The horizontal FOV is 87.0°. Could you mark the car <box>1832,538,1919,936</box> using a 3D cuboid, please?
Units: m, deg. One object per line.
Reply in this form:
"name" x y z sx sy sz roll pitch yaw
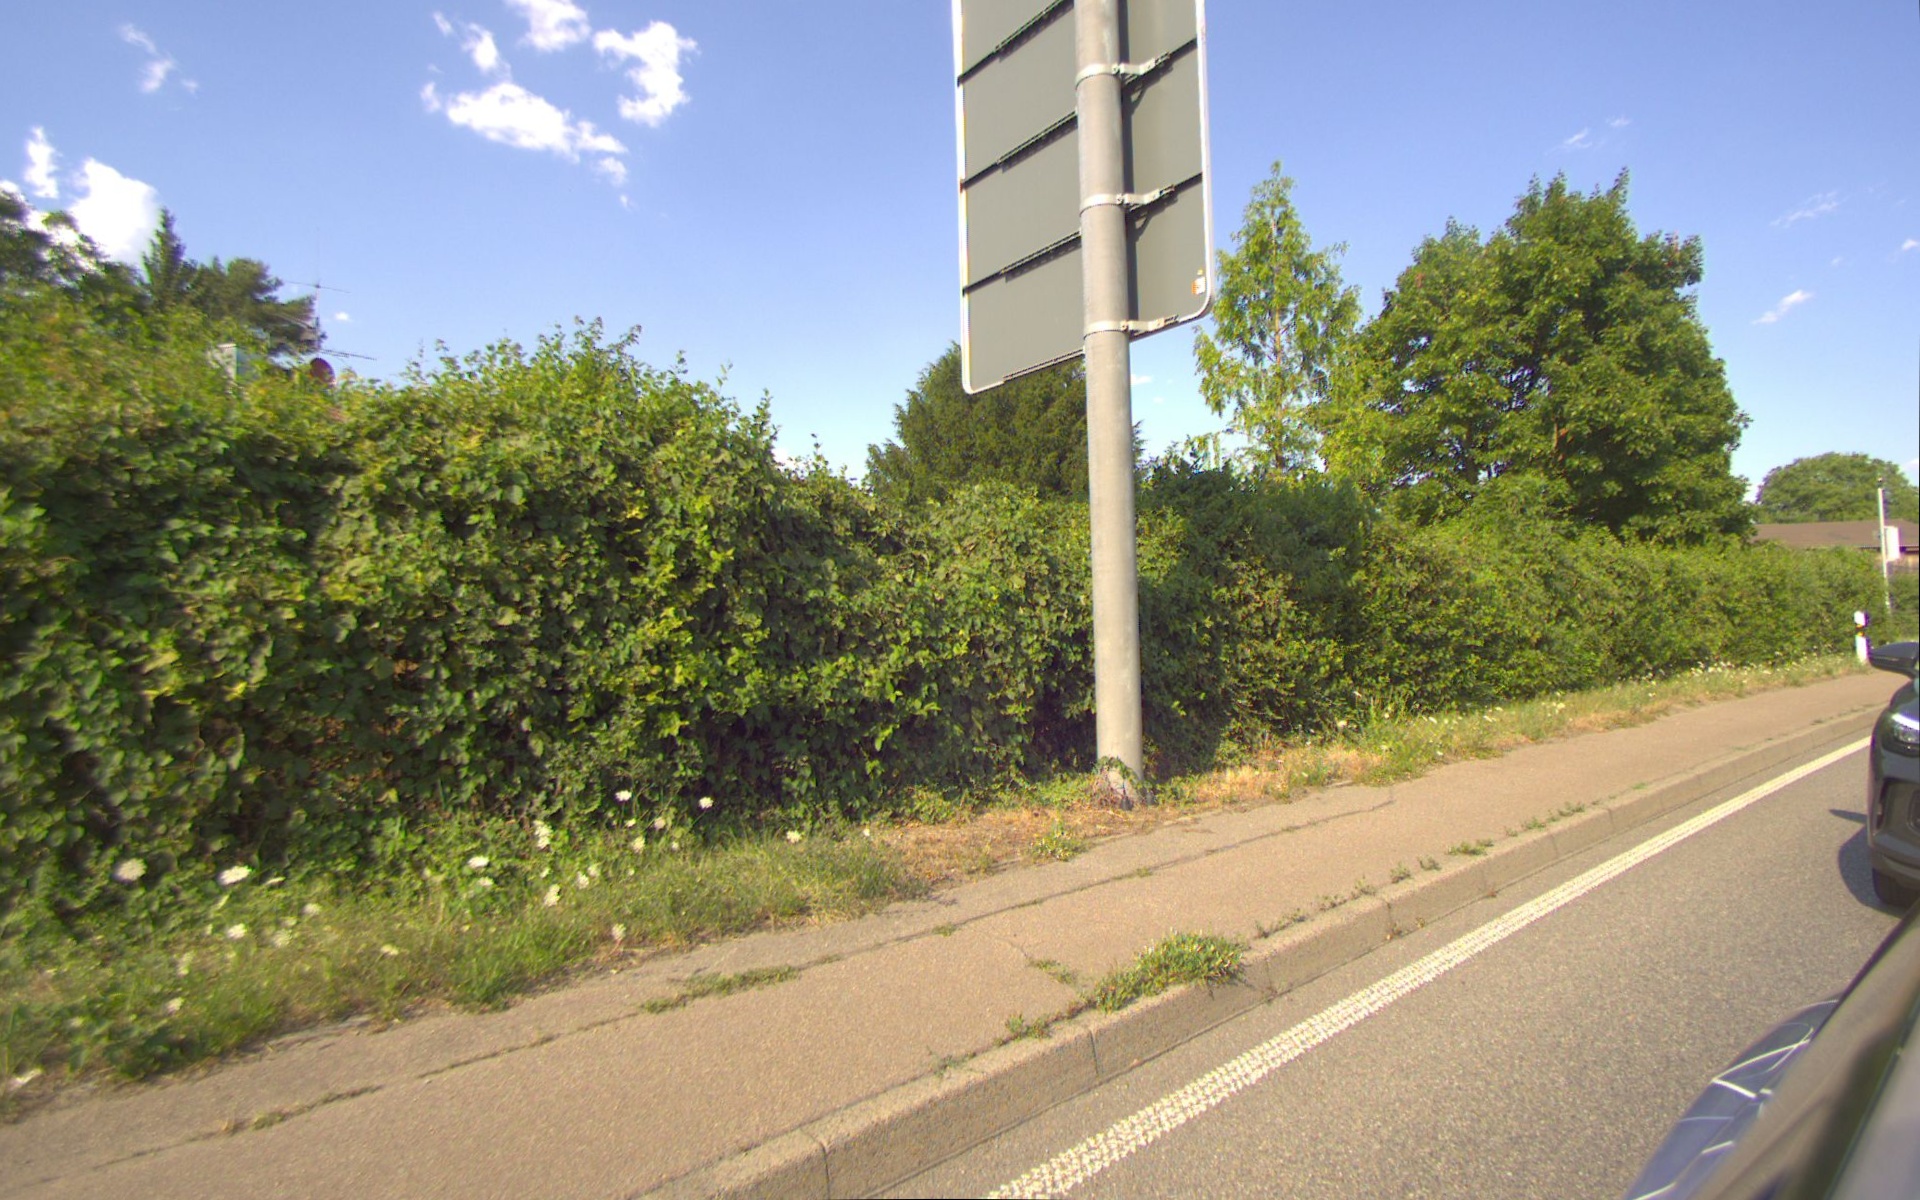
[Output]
"car" 5.925 0.539 4.964 3.930 1.662 1.865 -2 2 -40
